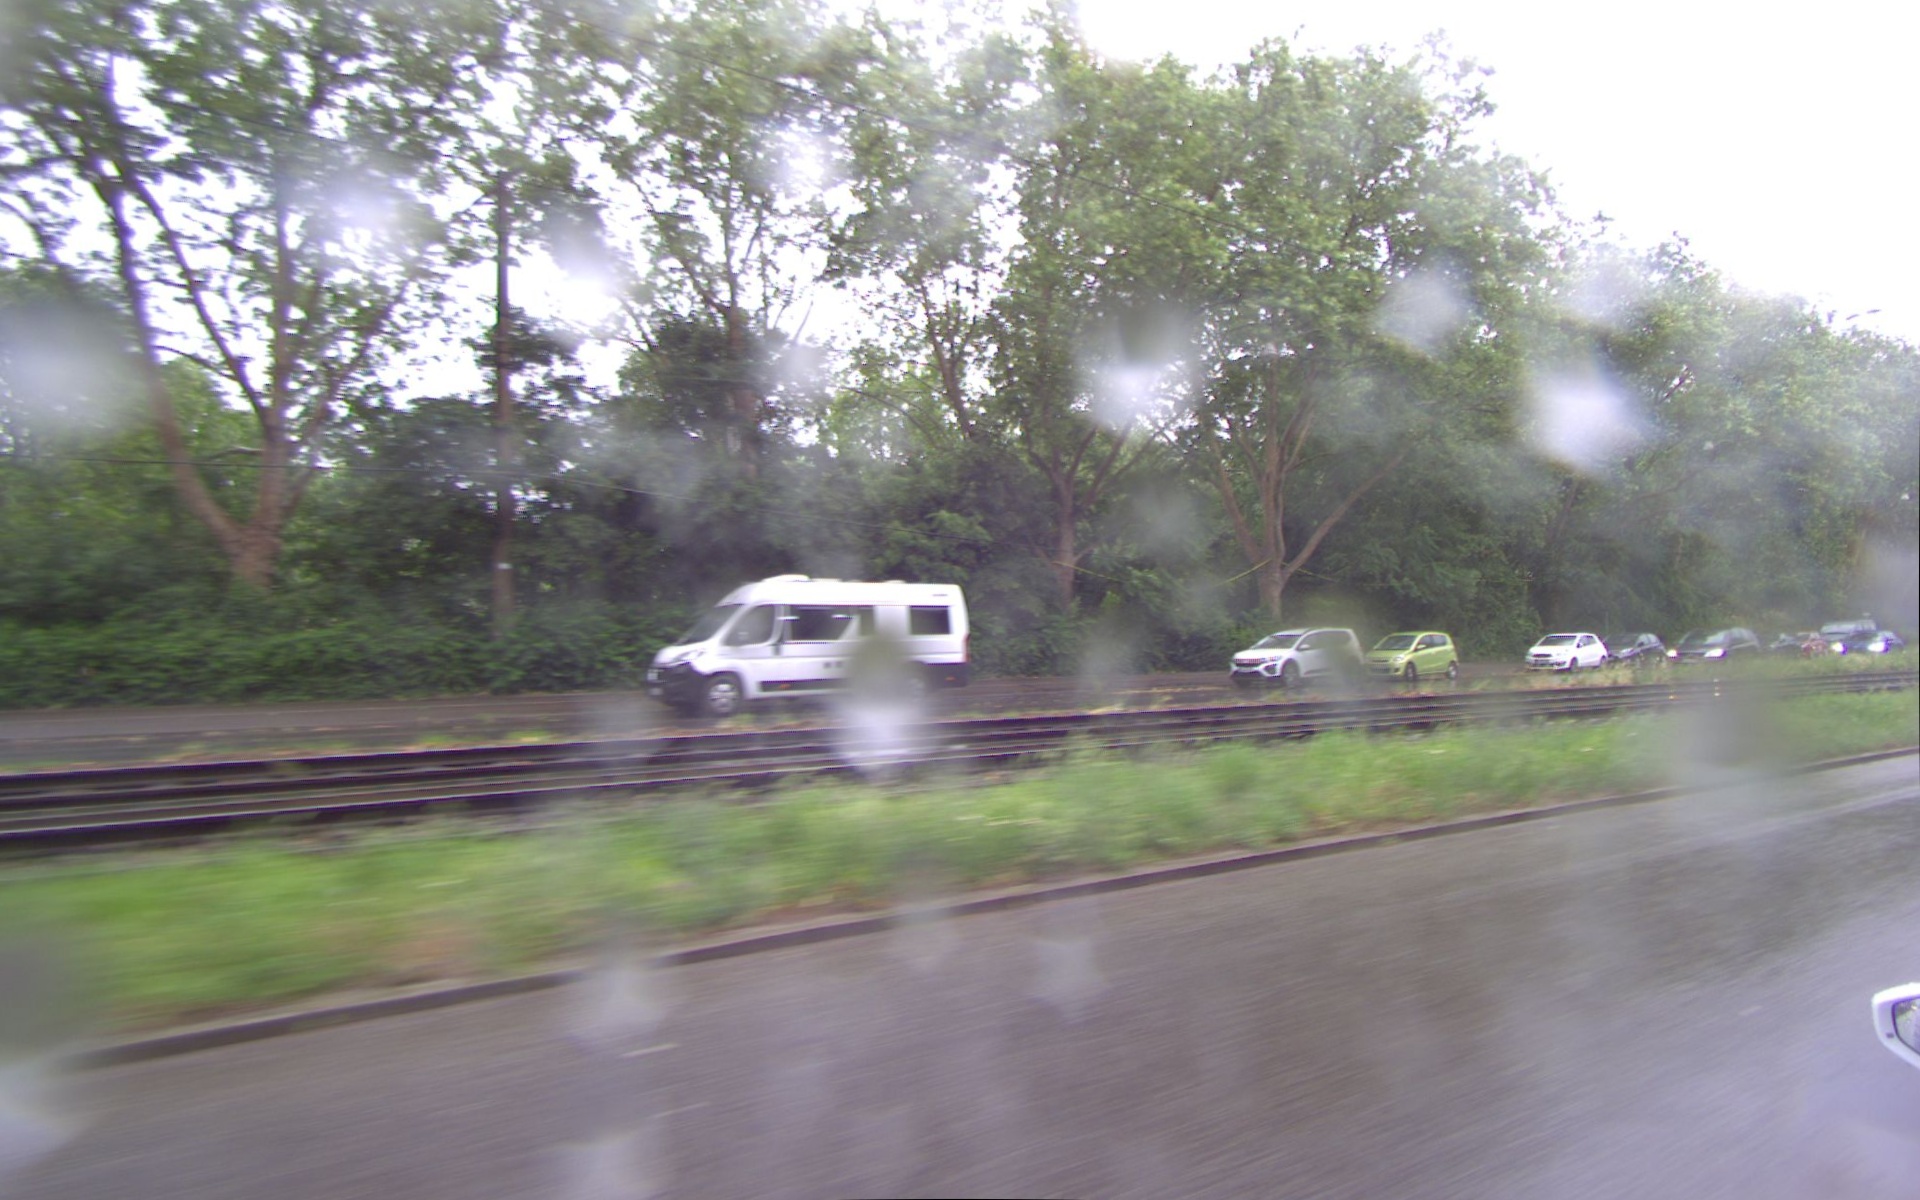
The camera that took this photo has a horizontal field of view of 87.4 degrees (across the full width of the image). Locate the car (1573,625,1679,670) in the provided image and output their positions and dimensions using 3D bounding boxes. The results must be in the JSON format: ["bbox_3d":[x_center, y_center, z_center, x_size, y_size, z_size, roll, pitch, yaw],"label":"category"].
[{"bbox_3d":[27.338,1.928,41.211,4.646,1.774,2.019,1,-3,-34],"label":"car"}]

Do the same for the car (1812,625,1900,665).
[{"bbox_3d":[41.986,2.102,47.040,4.646,1.774,2.019,1,-3,-34],"label":"car"}]

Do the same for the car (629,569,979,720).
[{"bbox_3d":[-2.945,0.860,19.928,6.499,2.574,2.375,1,-3,-34],"label":"car"}]

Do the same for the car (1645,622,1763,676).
[{"bbox_3d":[26.001,1.696,35.073,4.216,1.774,2.019,1,-3,-34],"label":"car"}]

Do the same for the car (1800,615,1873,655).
[{"bbox_3d":[48.541,1.926,55.581,4.758,2.120,2.018,1,-3,-36],"label":"car"}]

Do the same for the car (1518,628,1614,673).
[{"bbox_3d":[23.207,1.913,38.444,3.774,1.670,1.750,1,-3,-34],"label":"car"}]

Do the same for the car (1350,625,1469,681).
[{"bbox_3d":[14.302,1.653,31.929,3.774,1.670,1.750,1,-3,-34],"label":"car"}]

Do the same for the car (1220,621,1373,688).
[{"bbox_3d":[9.516,1.497,28.303,4.485,1.750,1.739,1,-3,-34],"label":"car"}]
